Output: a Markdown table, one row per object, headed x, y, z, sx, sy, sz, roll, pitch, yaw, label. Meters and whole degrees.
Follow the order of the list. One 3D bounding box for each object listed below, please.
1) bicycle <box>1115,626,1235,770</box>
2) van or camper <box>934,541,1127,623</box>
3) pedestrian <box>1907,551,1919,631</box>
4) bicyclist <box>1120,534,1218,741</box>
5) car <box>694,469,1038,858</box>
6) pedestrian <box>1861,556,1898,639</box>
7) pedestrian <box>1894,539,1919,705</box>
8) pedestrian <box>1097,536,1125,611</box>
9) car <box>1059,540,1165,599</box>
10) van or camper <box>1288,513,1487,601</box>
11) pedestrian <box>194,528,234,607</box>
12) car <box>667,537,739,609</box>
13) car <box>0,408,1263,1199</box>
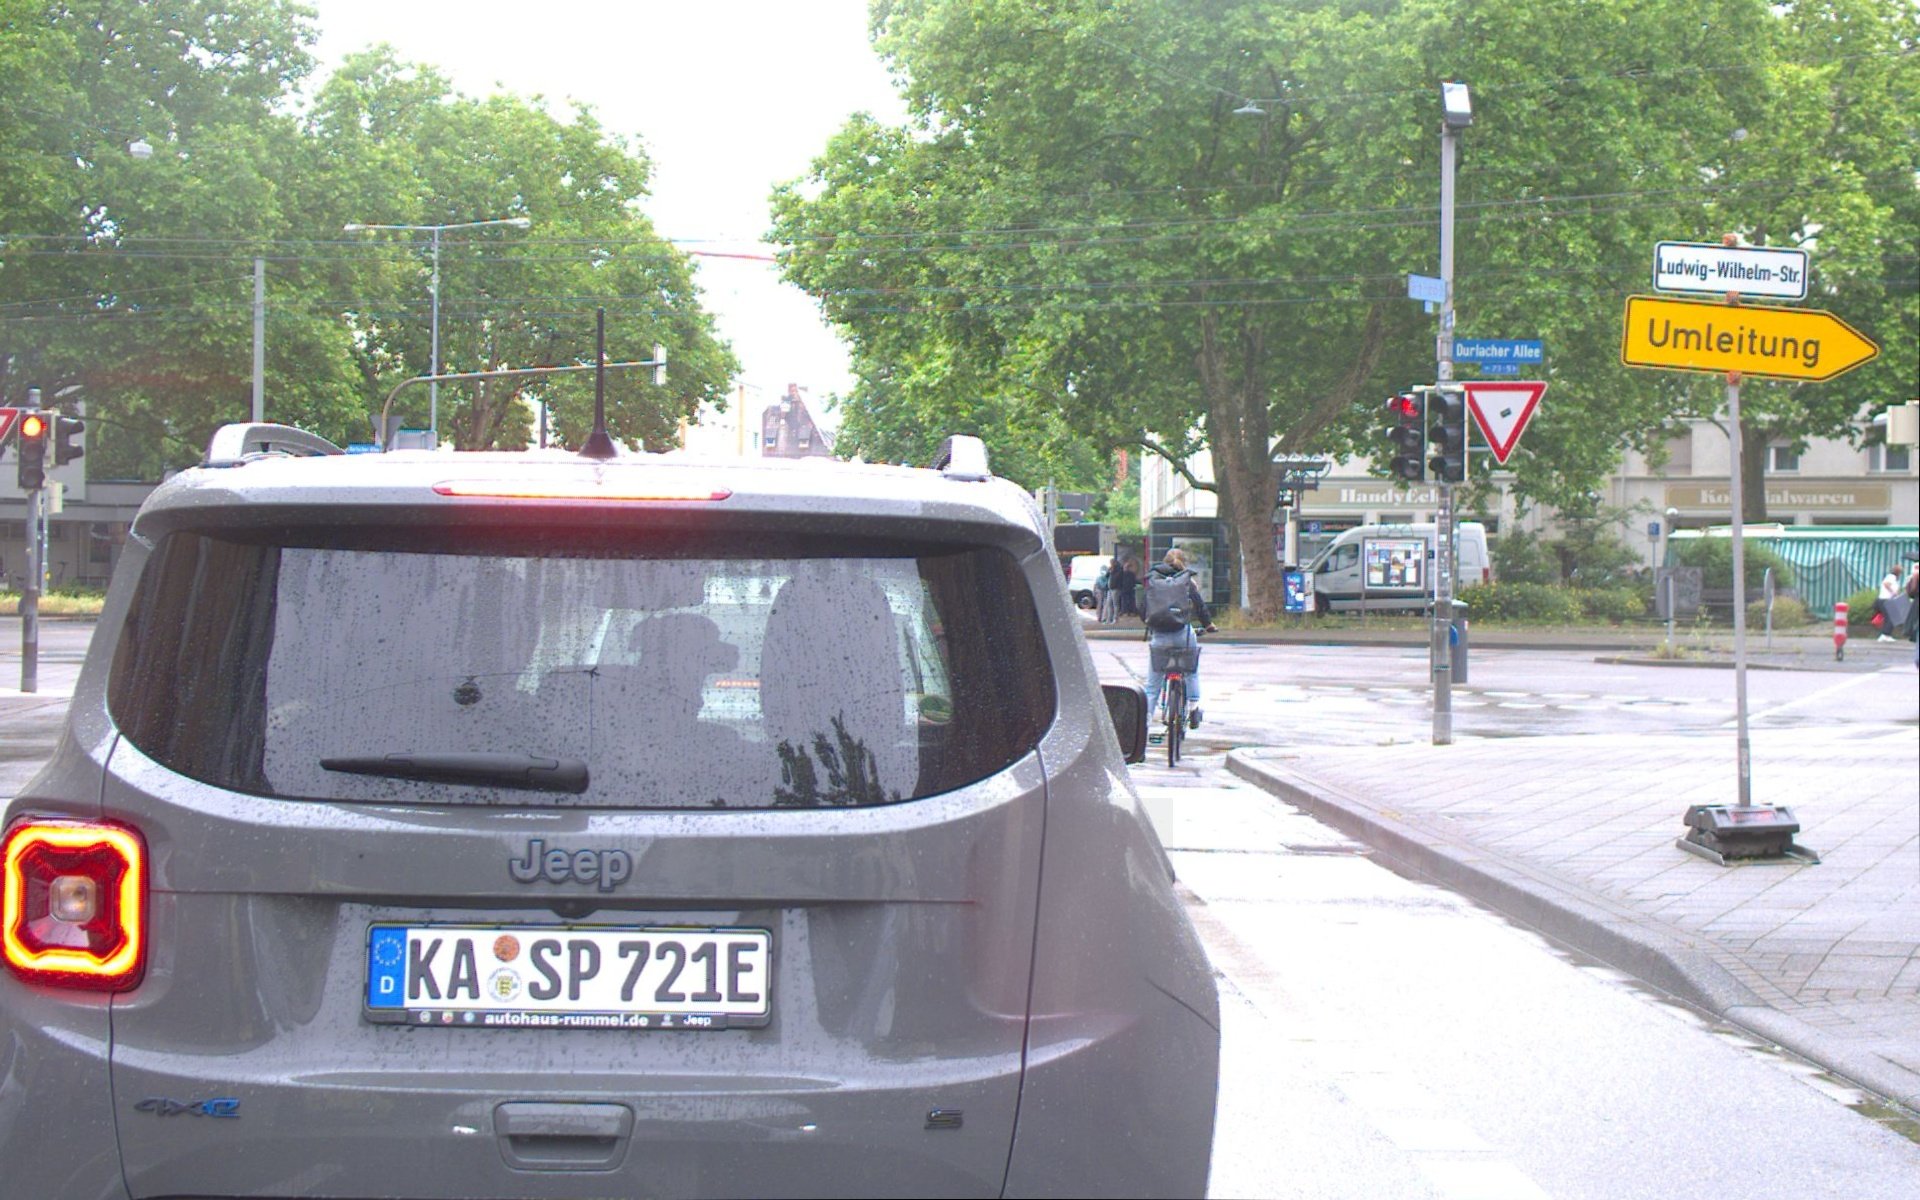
| x | y | z | sx | sy | sz | roll | pitch | yaw | label |
| --- | --- | --- | --- | --- | --- | --- | --- | --- | --- |
| 1.682 | 0.748 | 27.310 | 0.691 | 1.018 | 2.658 | -1 | 1 | -2 | bicycle |
| 2.553 | -0.662 | 124.761 | 6.535 | 2.902 | 2.491 | 1 | 1 | 24 | van or camper |
| 18.979 | -0.173 | 67.299 | 0.674 | 1.548 | 0.760 | 1 | -1 | 27 | pedestrian |
| 1.652 | 0.286 | 27.327 | 0.687 | 1.612 | 0.884 | -1 | 1 | -2 | bicyclist |
| -0.525 | 0.299 | 19.839 | 1.770 | 2.007 | 4.000 | 0 | 1 | -1 | car |
| 17.750 | -0.058 | 66.391 | 0.613 | 1.598 | 0.493 | 0 | 1 | 24 | pedestrian |
| 10.444 | 0.226 | 36.885 | 0.786 | 1.753 | 0.945 | 0 | 1 | 14 | pedestrian |
| 4.066 | -0.707 | 92.509 | 0.651 | 2.007 | 0.482 | 1 | 1 | 12 | pedestrian |
| 5.283 | -1.046 | 119.523 | 3.438 | 2.007 | 1.547 | 0 | 0 | 13 | car |
| 11.751 | -1.197 | 94.807 | 5.260 | 2.307 | 2.090 | 1 | 1 | 3 | van or camper |
| -17.138 | -0.753 | 79.020 | 0.619 | 1.820 | 0.693 | 0 | 1 | 21 | pedestrian |
| -6.325 | -0.673 | 84.504 | 1.721 | 1.733 | 3.730 | 0 | 1 | -5 | car |
| -0.570 | 0.580 | 6.168 | 1.775 | 1.681 | 3.848 | -1 | 1 | -2 | car |
